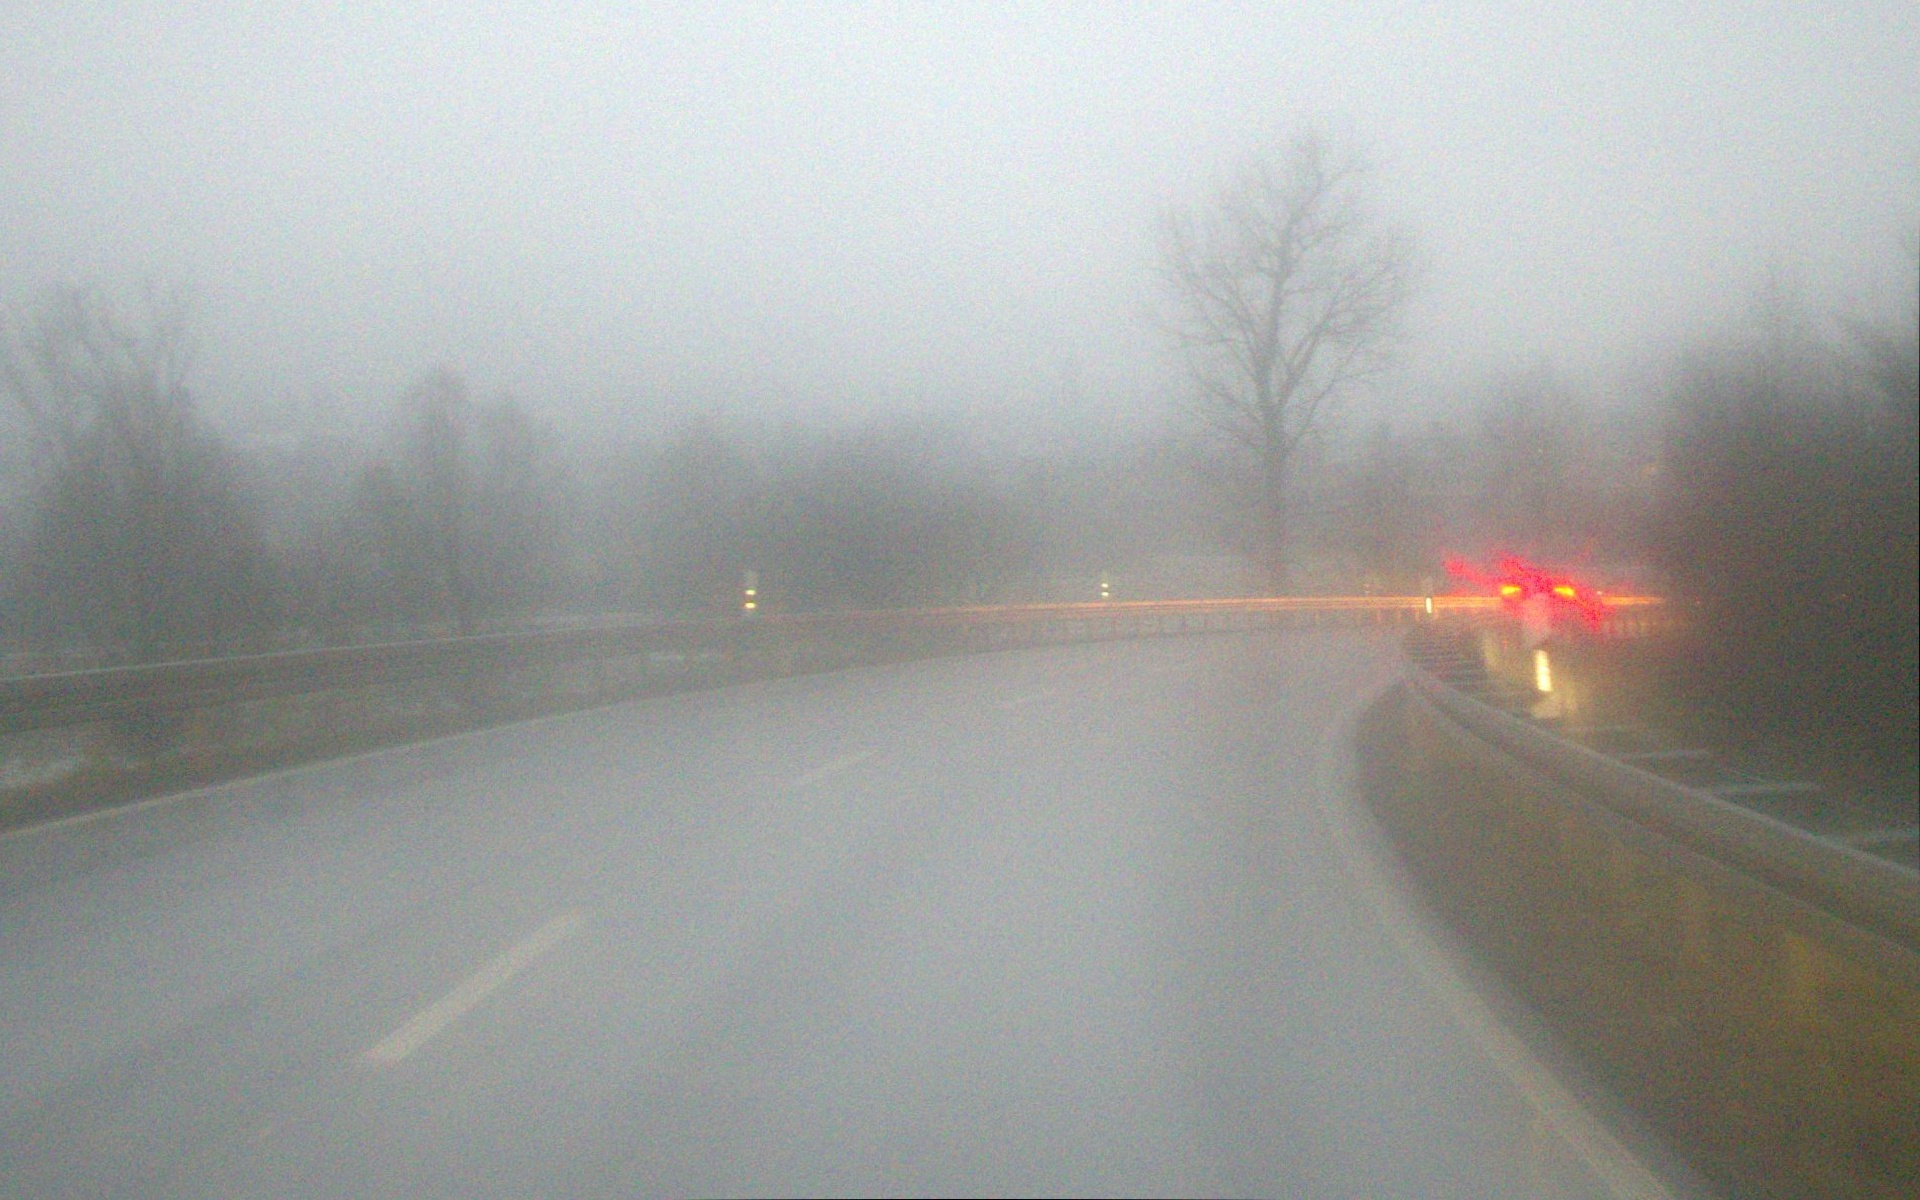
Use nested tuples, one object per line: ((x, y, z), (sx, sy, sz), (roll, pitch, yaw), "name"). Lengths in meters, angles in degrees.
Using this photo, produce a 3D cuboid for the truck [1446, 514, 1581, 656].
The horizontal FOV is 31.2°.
((12.884, -0.303, 80.397), (2.533, 2.859, 5.920), (8, 0, 7), "truck")
